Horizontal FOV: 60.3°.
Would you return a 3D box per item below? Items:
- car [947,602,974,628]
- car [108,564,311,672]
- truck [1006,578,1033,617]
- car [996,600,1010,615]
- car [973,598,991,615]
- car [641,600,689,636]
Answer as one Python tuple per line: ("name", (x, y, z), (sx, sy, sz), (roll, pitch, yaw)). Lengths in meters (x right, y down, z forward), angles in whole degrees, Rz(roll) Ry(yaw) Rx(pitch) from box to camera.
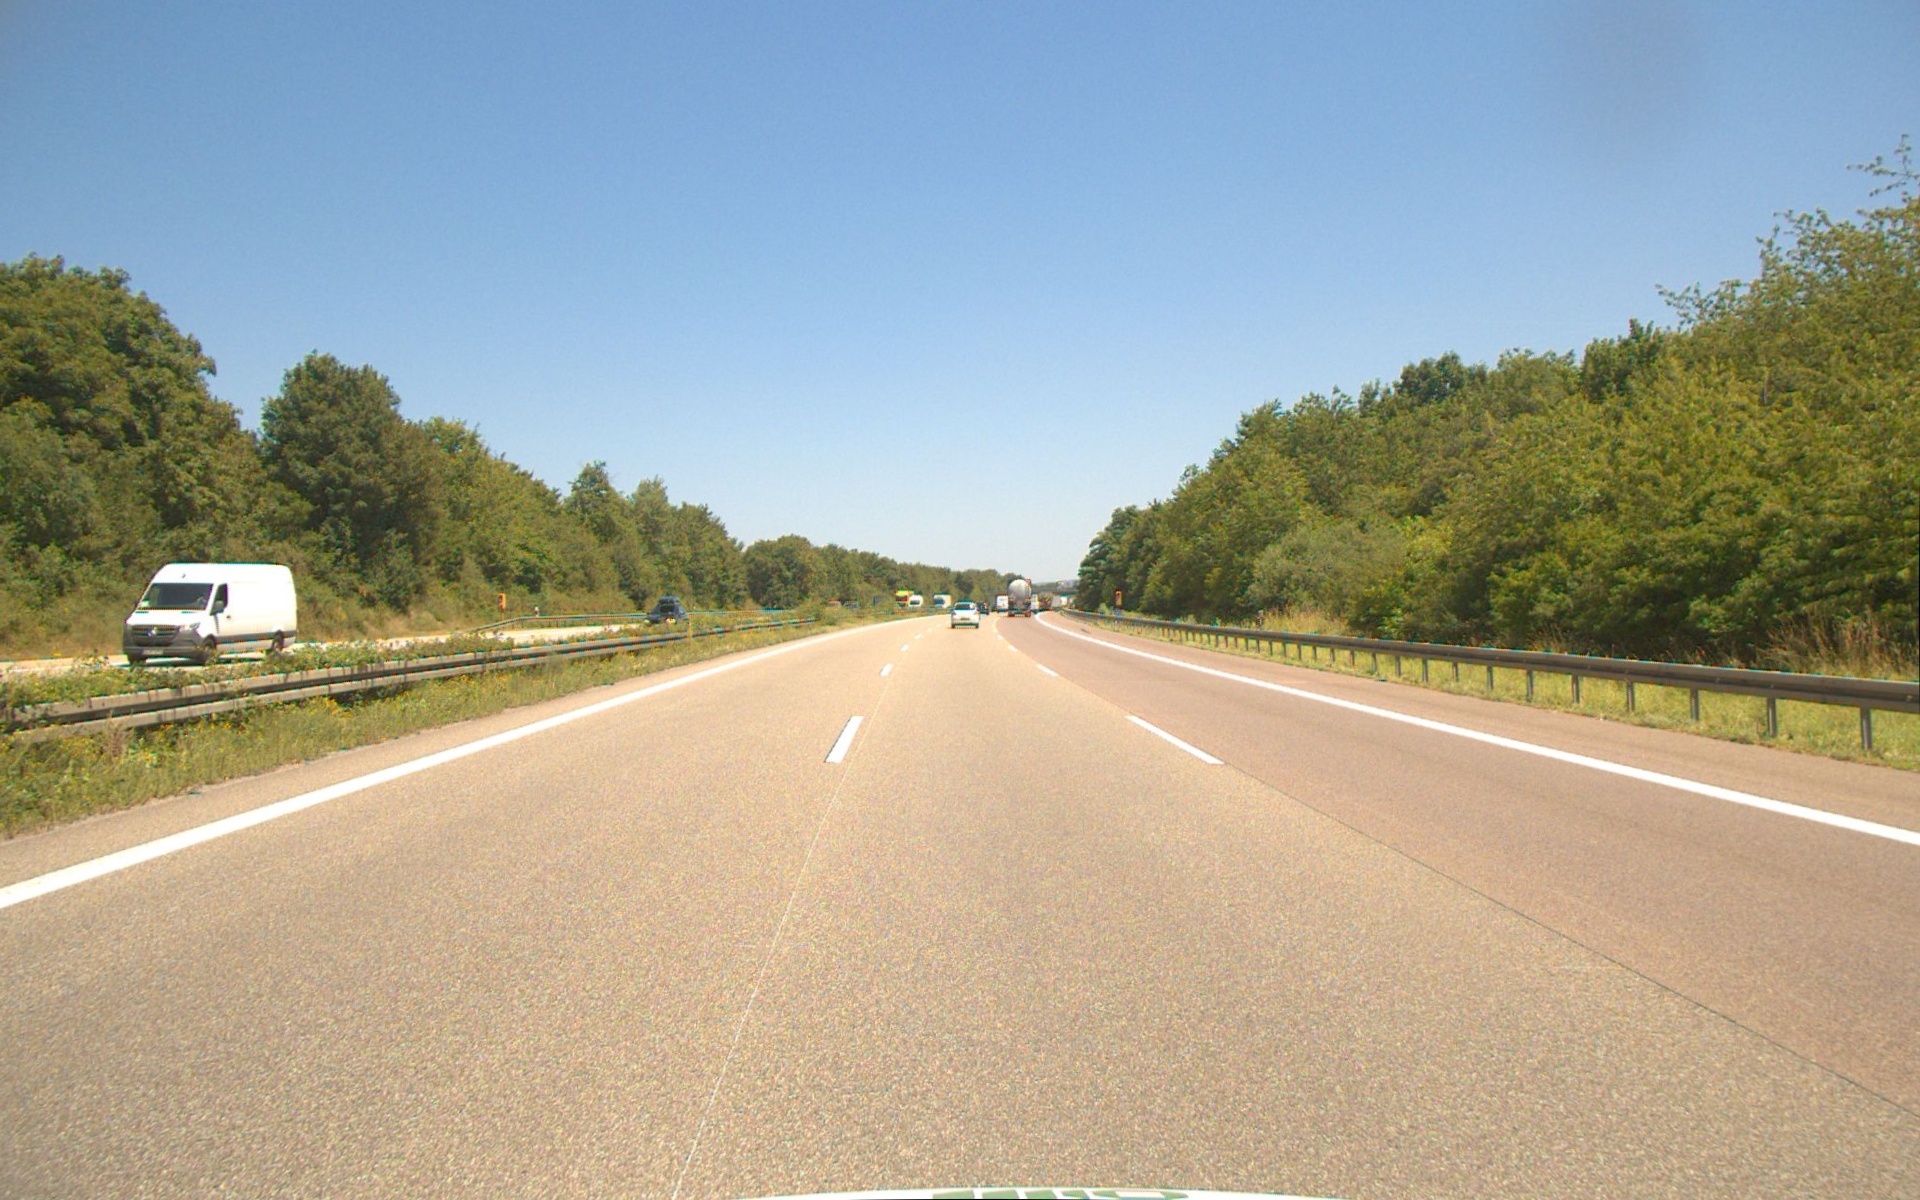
("car", (0.002, 0.925, 99.615), (1.594, 1.505, 3.999), (0, -1, -1))
("car", (-20.056, 0.463, 44.711), (2.183, 2.621, 7.390), (-1, 0, -1))
("truck", (6.516, -0.218, 180.114), (2.682, 4.123, 10.458), (-1, -1, 3))
("car", (6.540, 1.134, 250.514), (1.952, 2.384, 4.388), (0, 0, 3))
("car", (2.715, 0.832, 201.992), (1.952, 2.049, 4.001), (-1, 0, 3))
("car", (-16.076, 0.959, 90.294), (1.789, 1.939, 4.955), (0, 0, -1))
